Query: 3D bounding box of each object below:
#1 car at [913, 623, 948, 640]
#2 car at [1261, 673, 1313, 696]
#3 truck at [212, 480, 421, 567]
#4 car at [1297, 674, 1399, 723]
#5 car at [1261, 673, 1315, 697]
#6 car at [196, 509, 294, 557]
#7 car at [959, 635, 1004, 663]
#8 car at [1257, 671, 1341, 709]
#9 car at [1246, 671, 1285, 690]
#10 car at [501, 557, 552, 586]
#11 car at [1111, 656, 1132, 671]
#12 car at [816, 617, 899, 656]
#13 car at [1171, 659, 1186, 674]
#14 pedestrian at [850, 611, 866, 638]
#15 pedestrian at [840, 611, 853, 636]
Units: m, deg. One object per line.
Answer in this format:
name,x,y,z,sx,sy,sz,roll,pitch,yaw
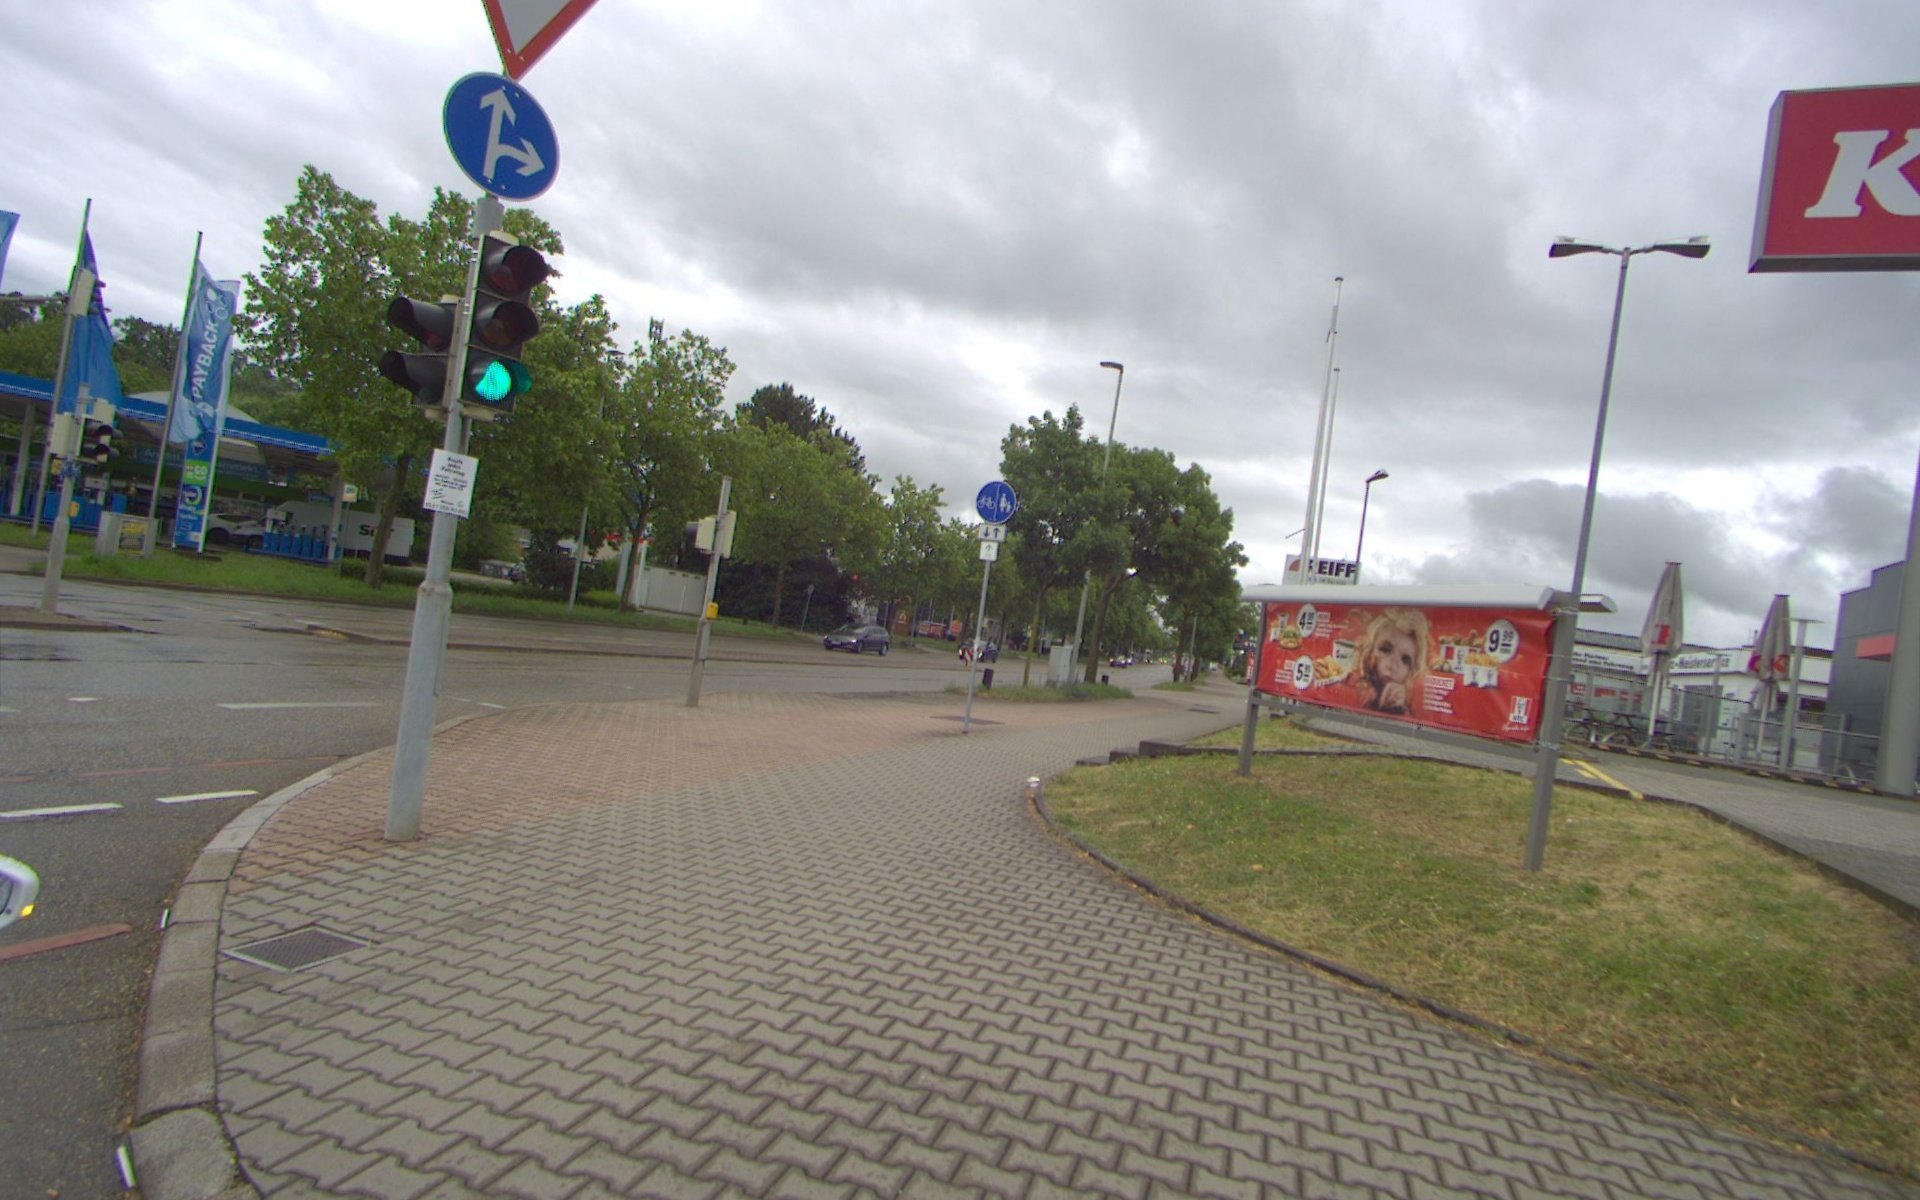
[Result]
car,-2.981,3.160,101.197,3.128,1.168,1.291,10,0,23
car,26.812,6.917,82.561,3.925,1.603,1.814,3,-3,18
truck,-29.552,-3.411,46.498,7.806,2.707,2.134,8,-1,-37
car,17.825,4.496,46.191,4.113,1.570,1.890,7,-1,24
car,25.948,6.706,79.672,3.925,1.561,1.814,3,-3,18
car,-34.658,-3.214,48.870,3.528,1.599,1.677,10,-3,-30
car,1.447,3.230,66.402,1.618,1.526,3.896,7,-2,21
car,18.282,4.849,54.310,3.933,1.540,1.716,6,-2,31
car,32.779,8.656,108.088,3.780,1.622,1.797,5,-2,16
car,-35.217,-2.304,81.803,1.962,1.859,4.004,7,-2,5
car,20.602,8.054,128.180,1.783,1.579,4.604,7,-3,18
car,-4.989,1.831,49.721,1.964,1.525,4.732,6,-2,23
car,33.824,10.313,155.667,1.717,2.037,4.004,7,-2,16
pedestrian,-7.241,1.705,71.155,0.657,1.787,0.581,8,0,39
pedestrian,-8.015,1.658,71.134,0.503,1.702,0.541,7,-1,17
